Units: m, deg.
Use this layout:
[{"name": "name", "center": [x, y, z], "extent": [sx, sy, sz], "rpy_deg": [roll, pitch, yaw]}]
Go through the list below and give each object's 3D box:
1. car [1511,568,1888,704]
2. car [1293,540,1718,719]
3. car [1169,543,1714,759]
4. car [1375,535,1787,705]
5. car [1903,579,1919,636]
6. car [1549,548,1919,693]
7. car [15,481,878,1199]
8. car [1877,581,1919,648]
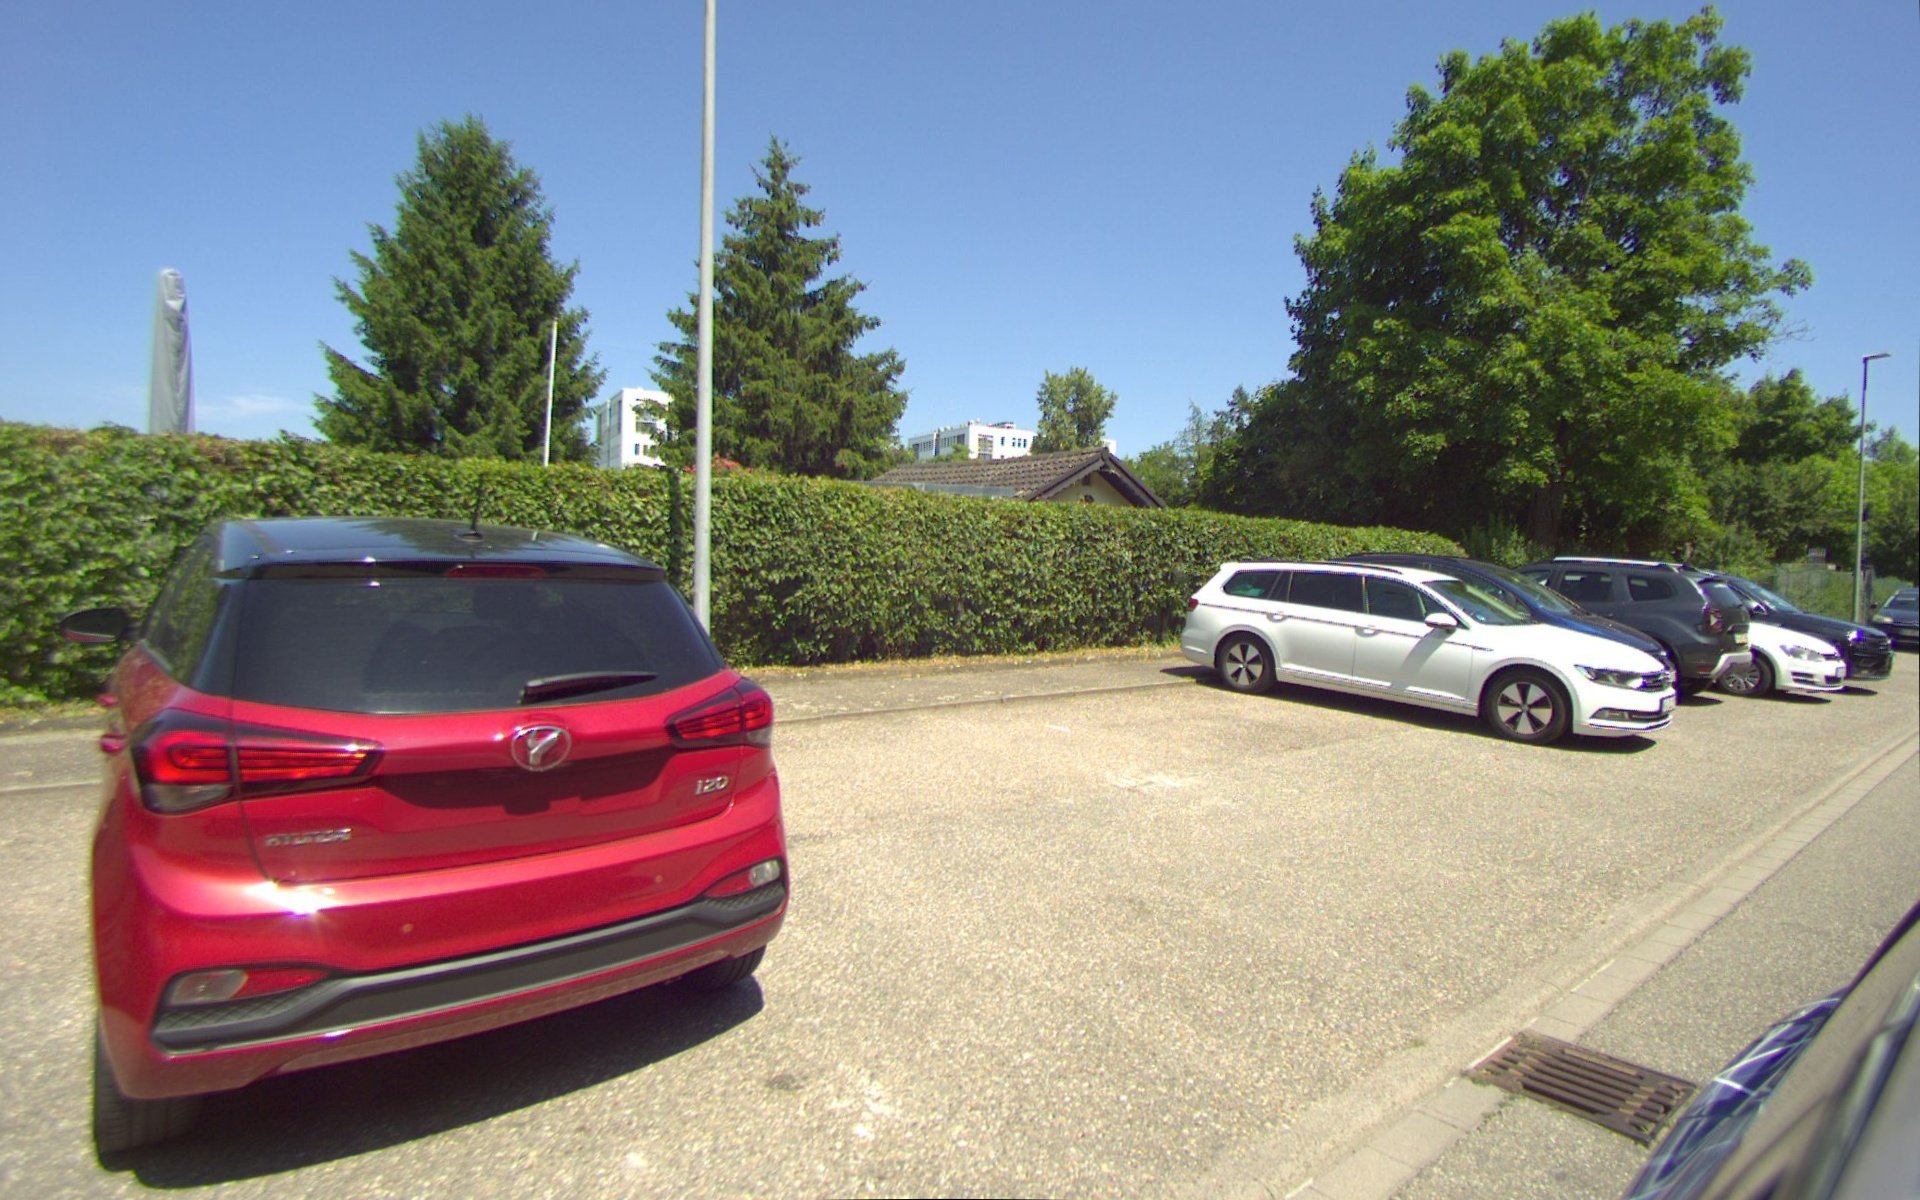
[{"name": "car", "center": [10.448, 0.393, 14.545], "extent": [1.799, 1.469, 4.007], "rpy_deg": [0, 4, -40]}, {"name": "car", "center": [6.326, 0.202, 12.115], "extent": [1.728, 1.567, 4.058], "rpy_deg": [0, 6, -42]}, {"name": "car", "center": [4.638, 0.306, 10.333], "extent": [1.929, 1.456, 4.566], "rpy_deg": [0, 6, -43]}, {"name": "car", "center": [8.129, 0.123, 13.624], "extent": [1.820, 1.718, 4.271], "rpy_deg": [0, 5, -39]}, {"name": "car", "center": [29.118, 0.258, 29.700], "extent": [4.060, 1.623, 1.792], "rpy_deg": [0, 3, -43]}, {"name": "car", "center": [12.363, 0.198, 16.314], "extent": [1.880, 1.724, 4.483], "rpy_deg": [0, 6, -40]}, {"name": "car", "center": [-2.208, 0.375, 3.890], "extent": [1.812, 1.496, 3.931], "rpy_deg": [0, 5, -39]}, {"name": "car", "center": [24.184, 0.367, 24.988], "extent": [4.586, 1.499, 1.793], "rpy_deg": [0, 6, -43]}]
